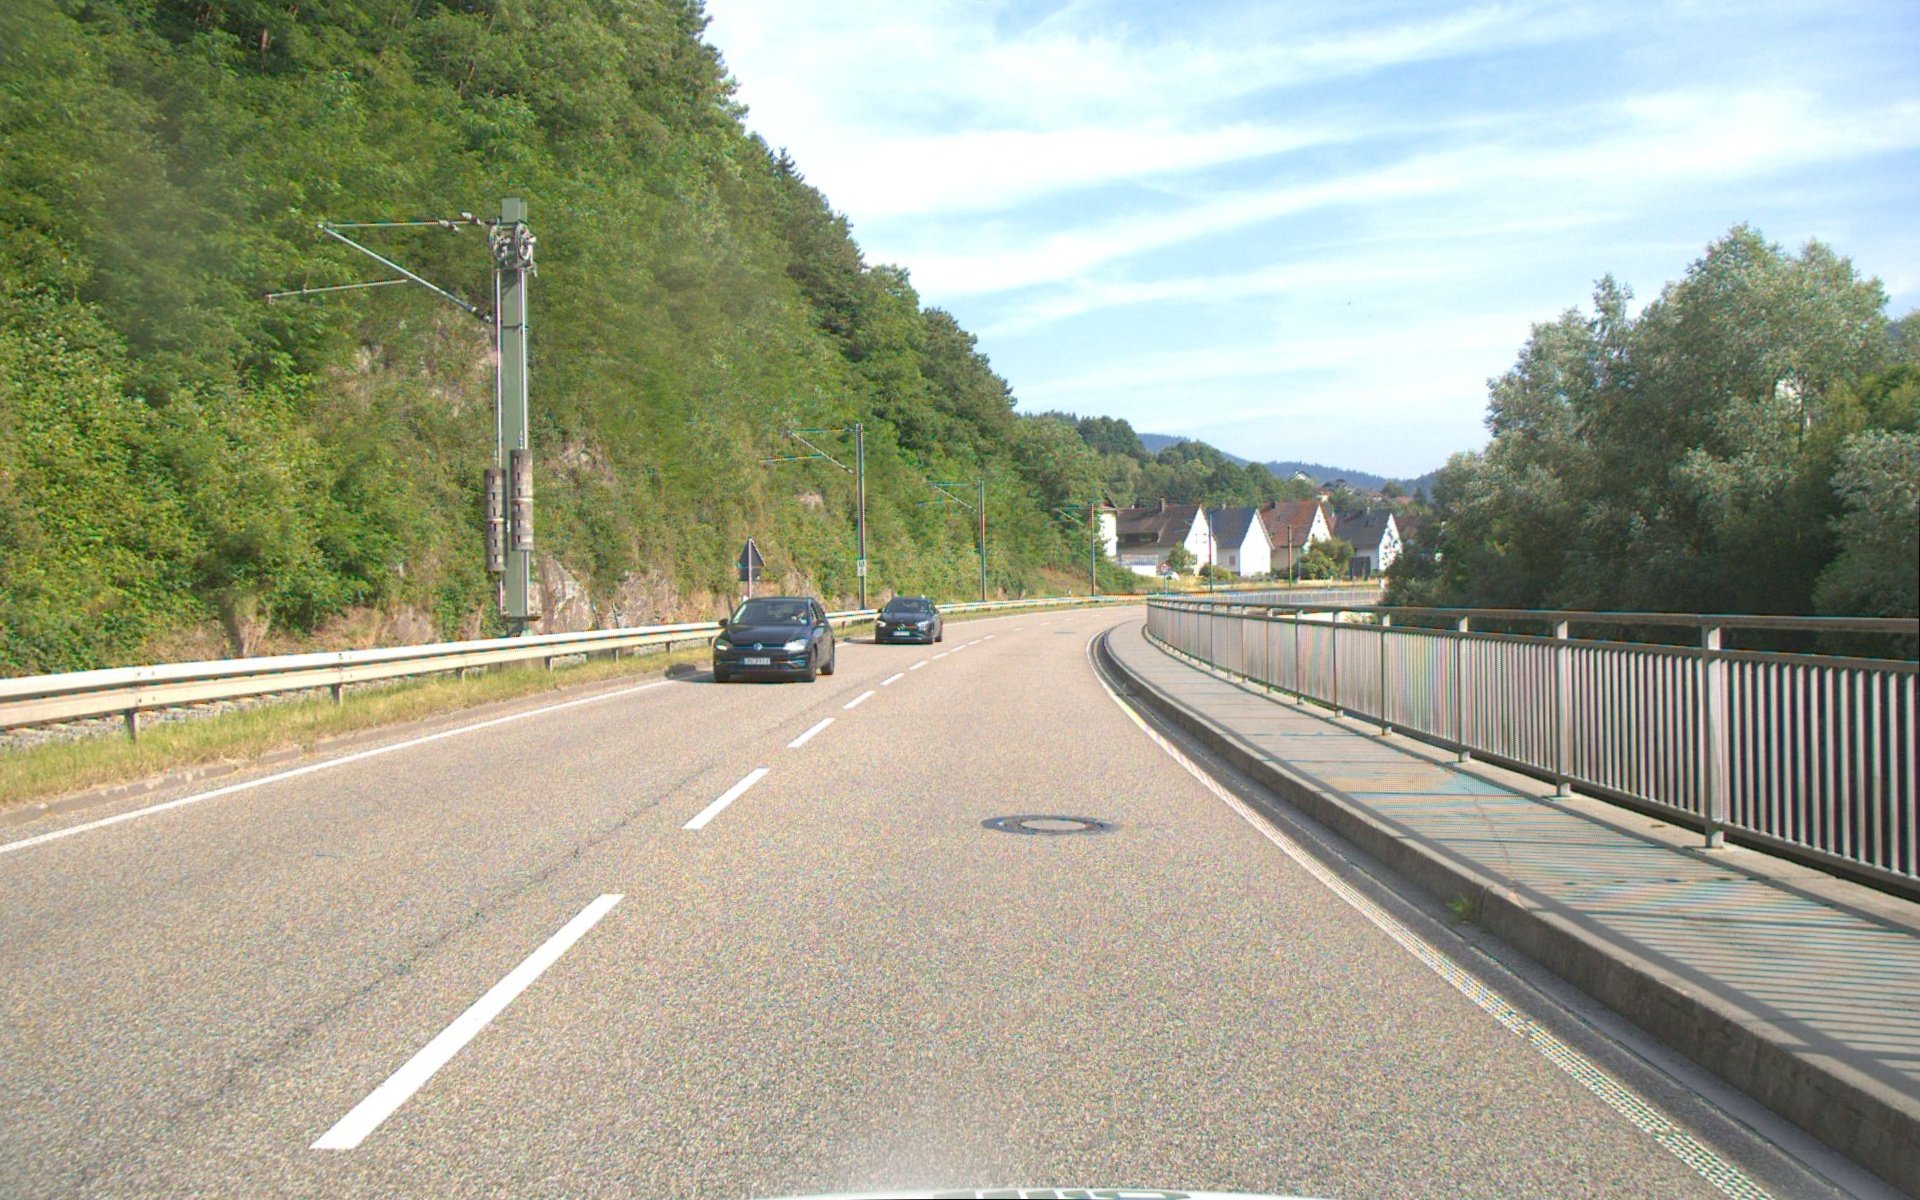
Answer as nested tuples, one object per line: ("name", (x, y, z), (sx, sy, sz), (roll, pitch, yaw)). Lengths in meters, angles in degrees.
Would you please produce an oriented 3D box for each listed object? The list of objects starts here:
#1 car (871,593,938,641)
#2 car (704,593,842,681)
("car", (-1.711, 0.515, 52.155), (1.809, 1.426, 4.477), (-1, 0, 2))
("car", (-3.269, 0.618, 29.630), (1.808, 1.465, 3.899), (0, 0, 3))
